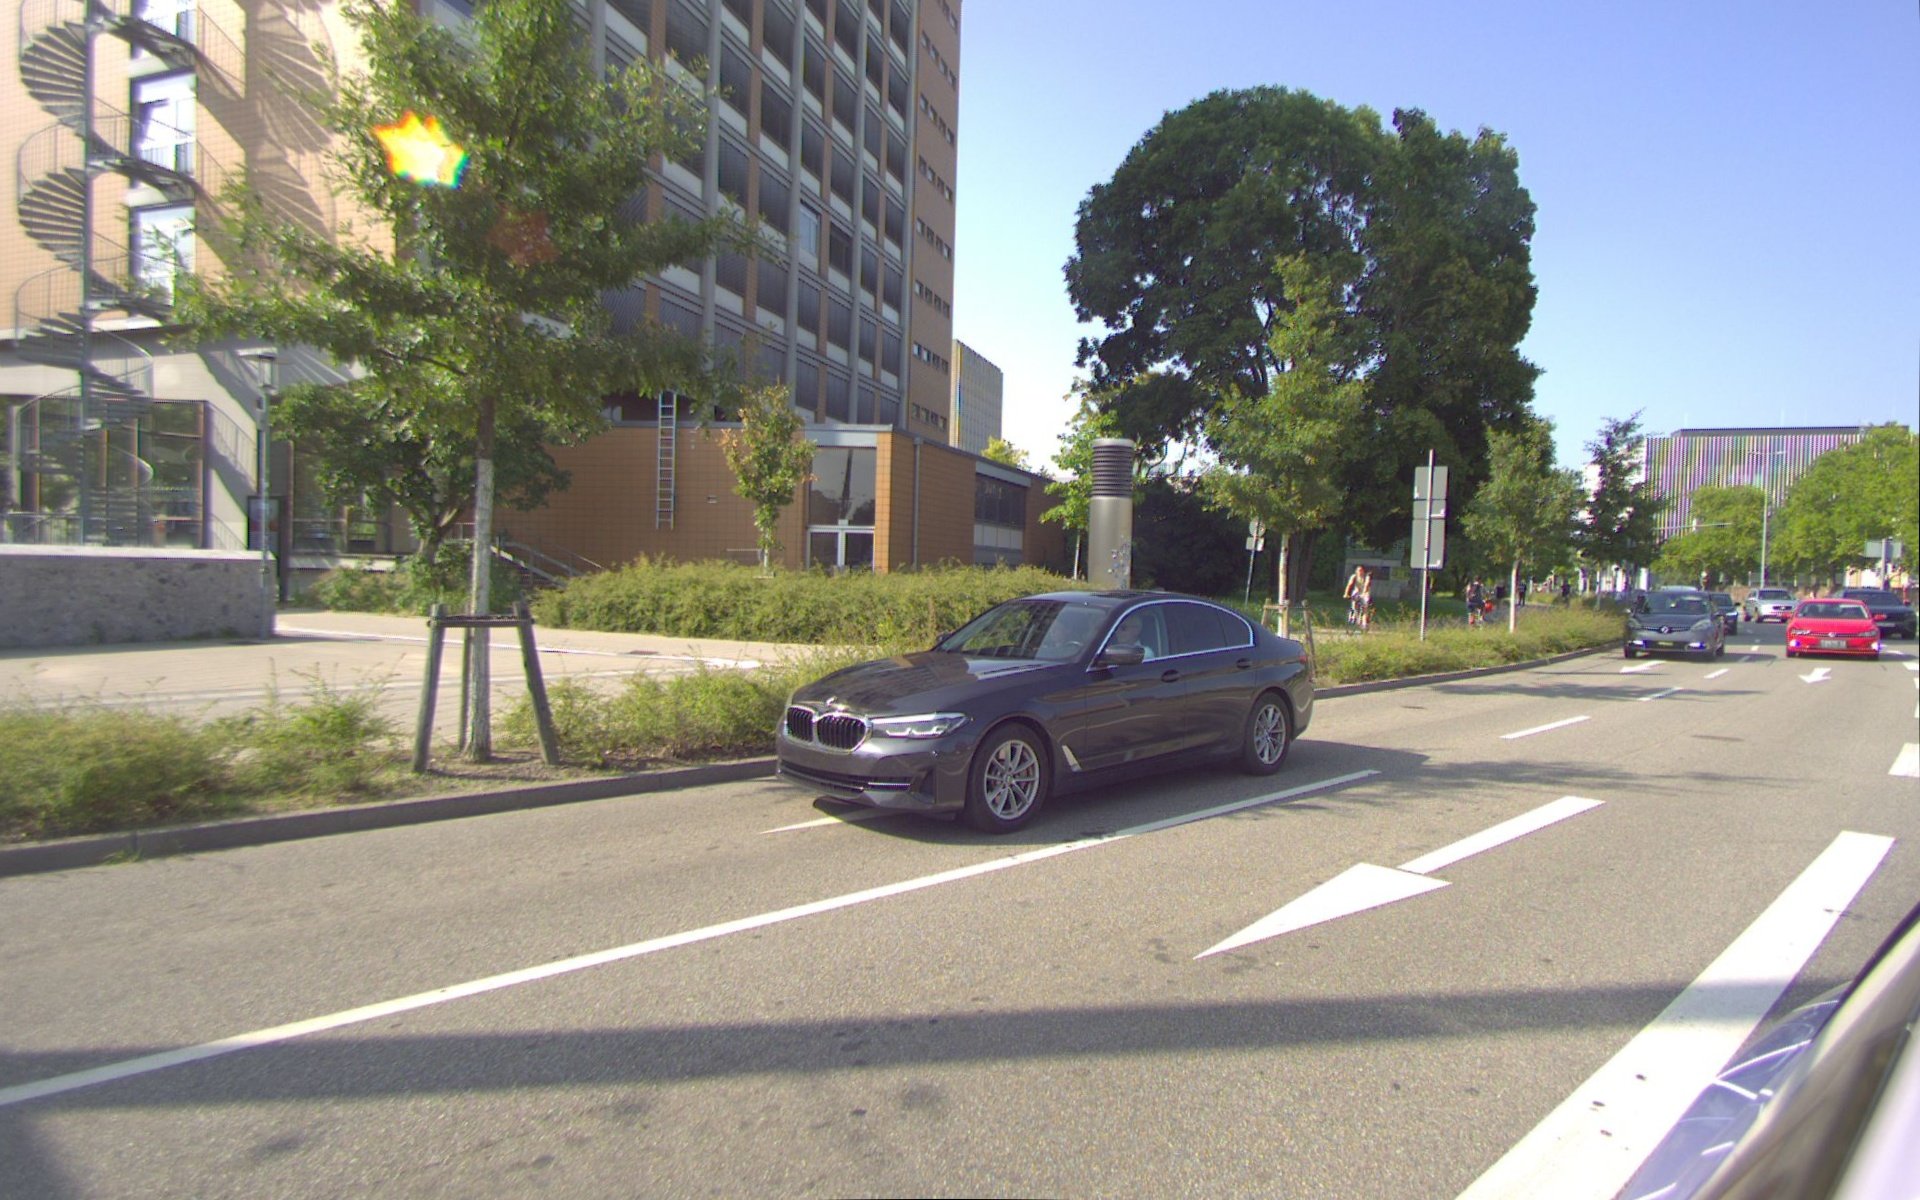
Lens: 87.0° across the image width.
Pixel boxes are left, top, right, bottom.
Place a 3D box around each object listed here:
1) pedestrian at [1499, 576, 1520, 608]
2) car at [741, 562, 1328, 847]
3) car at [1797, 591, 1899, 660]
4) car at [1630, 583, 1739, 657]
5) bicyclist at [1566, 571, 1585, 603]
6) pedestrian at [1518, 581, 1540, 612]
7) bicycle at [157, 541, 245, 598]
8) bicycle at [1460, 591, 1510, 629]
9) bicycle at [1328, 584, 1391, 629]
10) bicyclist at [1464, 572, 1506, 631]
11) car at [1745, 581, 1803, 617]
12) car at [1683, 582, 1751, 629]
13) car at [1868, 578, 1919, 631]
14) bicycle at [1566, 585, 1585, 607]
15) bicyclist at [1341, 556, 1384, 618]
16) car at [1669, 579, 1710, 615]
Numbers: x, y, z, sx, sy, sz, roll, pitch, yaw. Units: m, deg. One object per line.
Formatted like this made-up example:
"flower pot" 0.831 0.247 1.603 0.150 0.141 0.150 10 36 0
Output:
"pedestrian" 25.111 -0.373 46.268 0.722 1.461 0.847 2 1 34
"car" 0.822 0.540 7.548 4.593 1.510 1.685 0 1 -43
"car" 22.071 0.571 25.278 1.680 1.510 4.310 3 2 39
"car" 17.636 0.440 24.567 1.776 1.626 4.356 -1 -1 41
"bicyclist" 32.425 -0.693 53.306 0.768 1.697 0.913 2 1 33
"pedestrian" 34.880 -0.240 62.048 0.955 1.804 0.990 5 3 34
"bicycle" -19.893 -0.793 26.571 0.601 1.450 1.825 2 2 21
"bicycle" 14.284 0.251 27.509 0.719 0.971 1.892 3 2 43
"bicycle" 10.552 0.149 26.675 0.771 1.131 2.268 2 2 43
"bicyclist" 14.252 0.032 27.471 0.719 1.531 0.989 3 2 43
"car" 41.303 0.006 51.419 1.770 1.742 4.479 -1 -1 33
"car" 28.278 0.191 37.914 1.929 1.627 4.474 1 0 36
"car" 32.899 0.176 35.112 1.775 1.714 4.469 -1 -1 39
"bicycle" 32.409 -0.237 53.302 0.768 1.131 2.277 2 1 33
"bicyclist" 10.645 -0.349 26.767 0.771 1.613 0.910 2 1 43
"car" 42.214 -0.184 58.646 1.676 1.966 4.320 3 2 33
